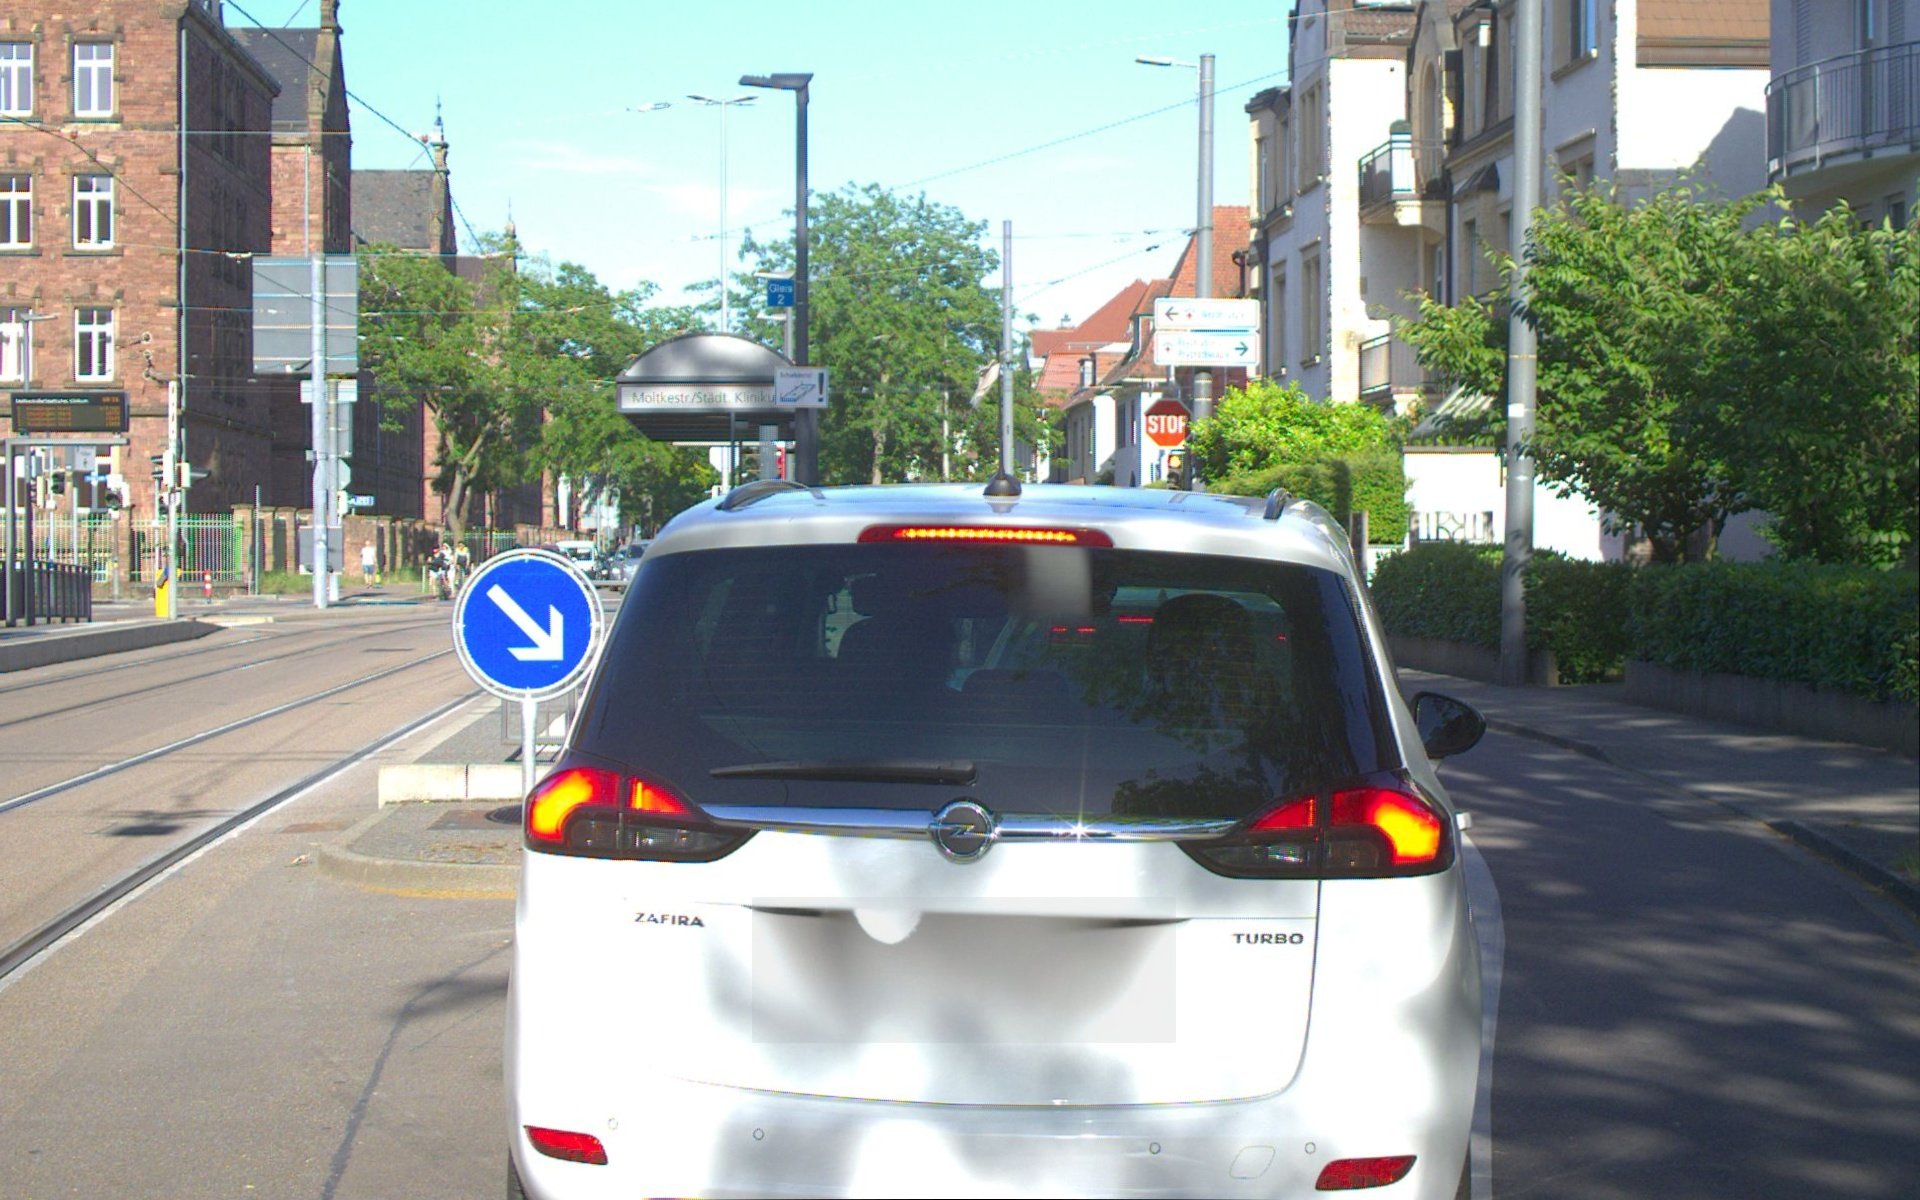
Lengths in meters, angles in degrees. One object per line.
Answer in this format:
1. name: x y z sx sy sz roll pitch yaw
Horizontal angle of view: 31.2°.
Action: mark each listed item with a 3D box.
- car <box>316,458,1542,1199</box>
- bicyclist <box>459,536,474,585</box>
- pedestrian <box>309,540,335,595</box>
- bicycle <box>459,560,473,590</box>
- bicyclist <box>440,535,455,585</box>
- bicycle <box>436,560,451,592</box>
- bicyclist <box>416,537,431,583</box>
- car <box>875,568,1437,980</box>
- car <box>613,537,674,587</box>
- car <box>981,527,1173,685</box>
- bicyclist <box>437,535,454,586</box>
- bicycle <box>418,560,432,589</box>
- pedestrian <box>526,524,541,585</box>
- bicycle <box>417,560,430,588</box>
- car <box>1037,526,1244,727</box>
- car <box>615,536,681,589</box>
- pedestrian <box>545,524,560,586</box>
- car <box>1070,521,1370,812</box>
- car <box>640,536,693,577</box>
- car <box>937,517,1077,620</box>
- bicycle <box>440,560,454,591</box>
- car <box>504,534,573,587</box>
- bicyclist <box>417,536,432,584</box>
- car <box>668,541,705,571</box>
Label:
1. car: 0.133 0.580 7.603 1.994 1.639 3.992 1 1 6
2. bicyclist: -15.679 -1.250 109.152 0.444 1.548 0.496 0 1 -4
3. pedestrian: -20.073 -1.030 108.231 0.734 1.708 0.706 1 0 -6
4. bicycle: -15.688 -0.785 109.167 0.344 0.946 0.997 1 0 -4
5. bicyclist: -15.883 -1.227 106.568 0.444 1.548 0.496 0 1 -4
6. bicycle: -15.474 -0.721 103.085 0.344 0.946 1.160 1 0 -4
7. bicyclist: -17.971 -1.343 115.099 0.444 1.548 0.496 0 1 -4
8. car: 0.742 0.587 13.983 1.953 1.392 4.000 0 1 2
9. car: -10.523 -1.276 114.418 1.993 1.623 4.001 0 1 -5
10. car: 1.176 0.023 36.180 1.830 1.574 4.010 0 1 -1
11. bicyclist: -15.465 -1.190 103.286 0.444 1.548 0.743 0 1 -4
12. bicycle: -17.637 -0.854 113.313 0.344 0.946 0.997 1 0 -4
13. pedestrian: -13.897 -1.483 111.975 0.444 2.007 0.496 0 1 -4
14. bicycle: -17.976 -0.877 115.142 0.344 0.946 0.997 1 0 -4
15. car: 1.493 0.177 29.256 1.637 1.595 3.854 0 1 2
16. car: -9.727 -1.193 107.312 1.993 1.623 4.001 0 1 -5
17. pedestrian: -13.304 -1.477 112.248 0.444 2.007 0.496 0 1 -4
18. car: 1.490 0.329 20.828 1.637 1.595 3.854 0 1 2
19. car: -11.999 -1.795 140.659 1.993 1.623 4.001 0 1 -2
20. car: 0.669 -0.490 51.760 1.993 1.497 4.000 0 1 -1
21. bicycle: -15.920 -0.763 106.618 0.344 0.946 0.997 1 0 -4
22. car: -13.107 -1.231 107.089 1.993 1.623 4.001 0 1 -5
23. bicyclist: -17.654 -1.320 113.264 0.444 1.548 0.496 0 1 -4
24. car: -14.997 -2.401 188.575 1.993 1.623 3.989 0 1 -5
